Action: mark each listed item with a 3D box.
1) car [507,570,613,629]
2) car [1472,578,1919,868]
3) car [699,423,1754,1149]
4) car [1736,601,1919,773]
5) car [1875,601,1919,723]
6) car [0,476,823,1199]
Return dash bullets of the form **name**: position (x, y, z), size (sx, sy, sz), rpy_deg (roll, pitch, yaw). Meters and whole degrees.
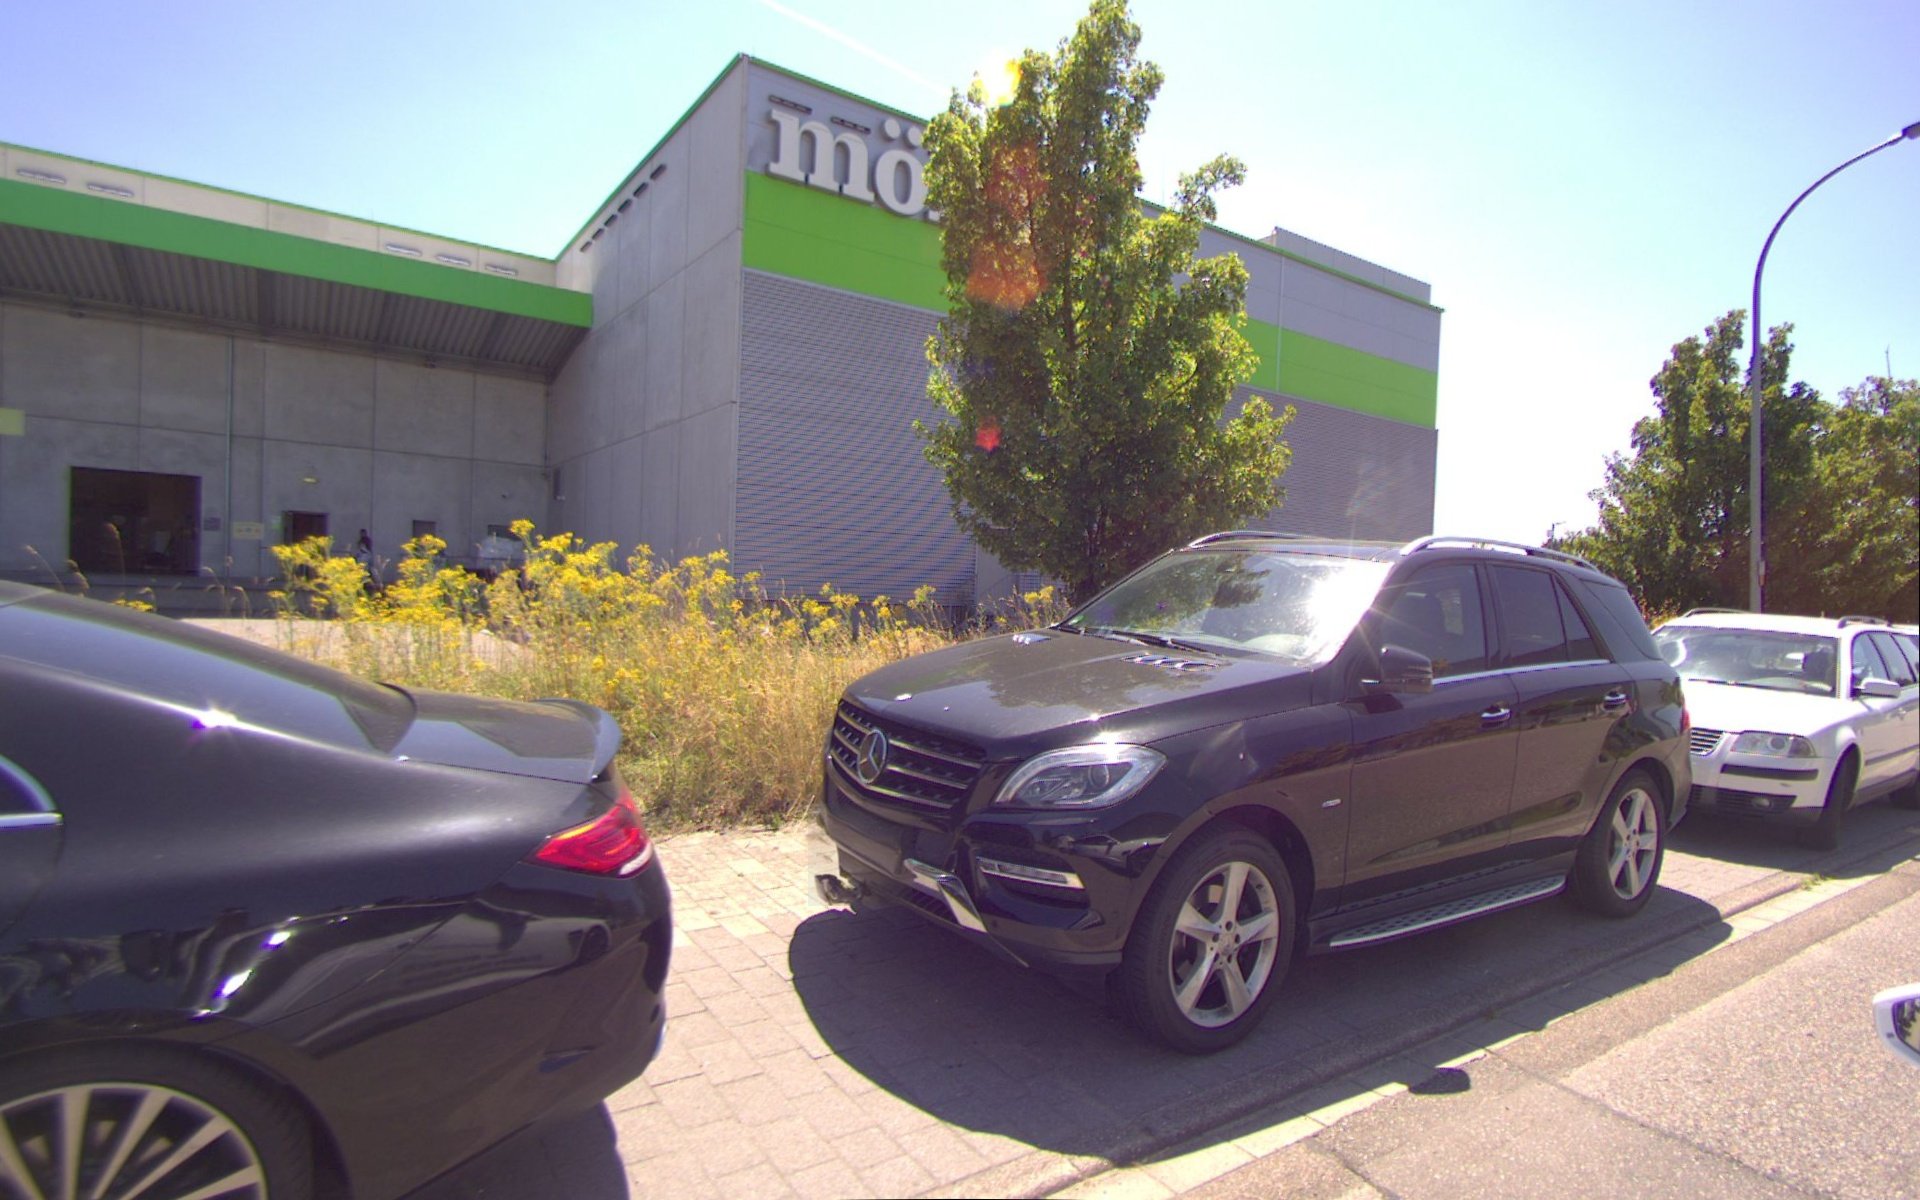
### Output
- **car**: position (-11.013, -0.044, 27.518), size (1.839, 1.467, 3.729), rpy_deg (2, 1, -35)
- **car**: position (6.115, 0.727, 7.815), size (4.861, 1.539, 1.837), rpy_deg (2, 3, -38)
- **car**: position (1.539, 0.476, 4.610), size (4.936, 1.782, 1.839), rpy_deg (2, 2, -34)
- **car**: position (10.825, 0.893, 11.457), size (5.120, 1.539, 1.837), rpy_deg (2, 3, -38)
- **car**: position (16.243, 1.011, 15.536), size (4.957, 1.736, 1.978), rpy_deg (2, 2, -35)
- **car**: position (-2.759, 0.492, 1.578), size (4.706, 1.462, 1.839), rpy_deg (2, 1, -35)
